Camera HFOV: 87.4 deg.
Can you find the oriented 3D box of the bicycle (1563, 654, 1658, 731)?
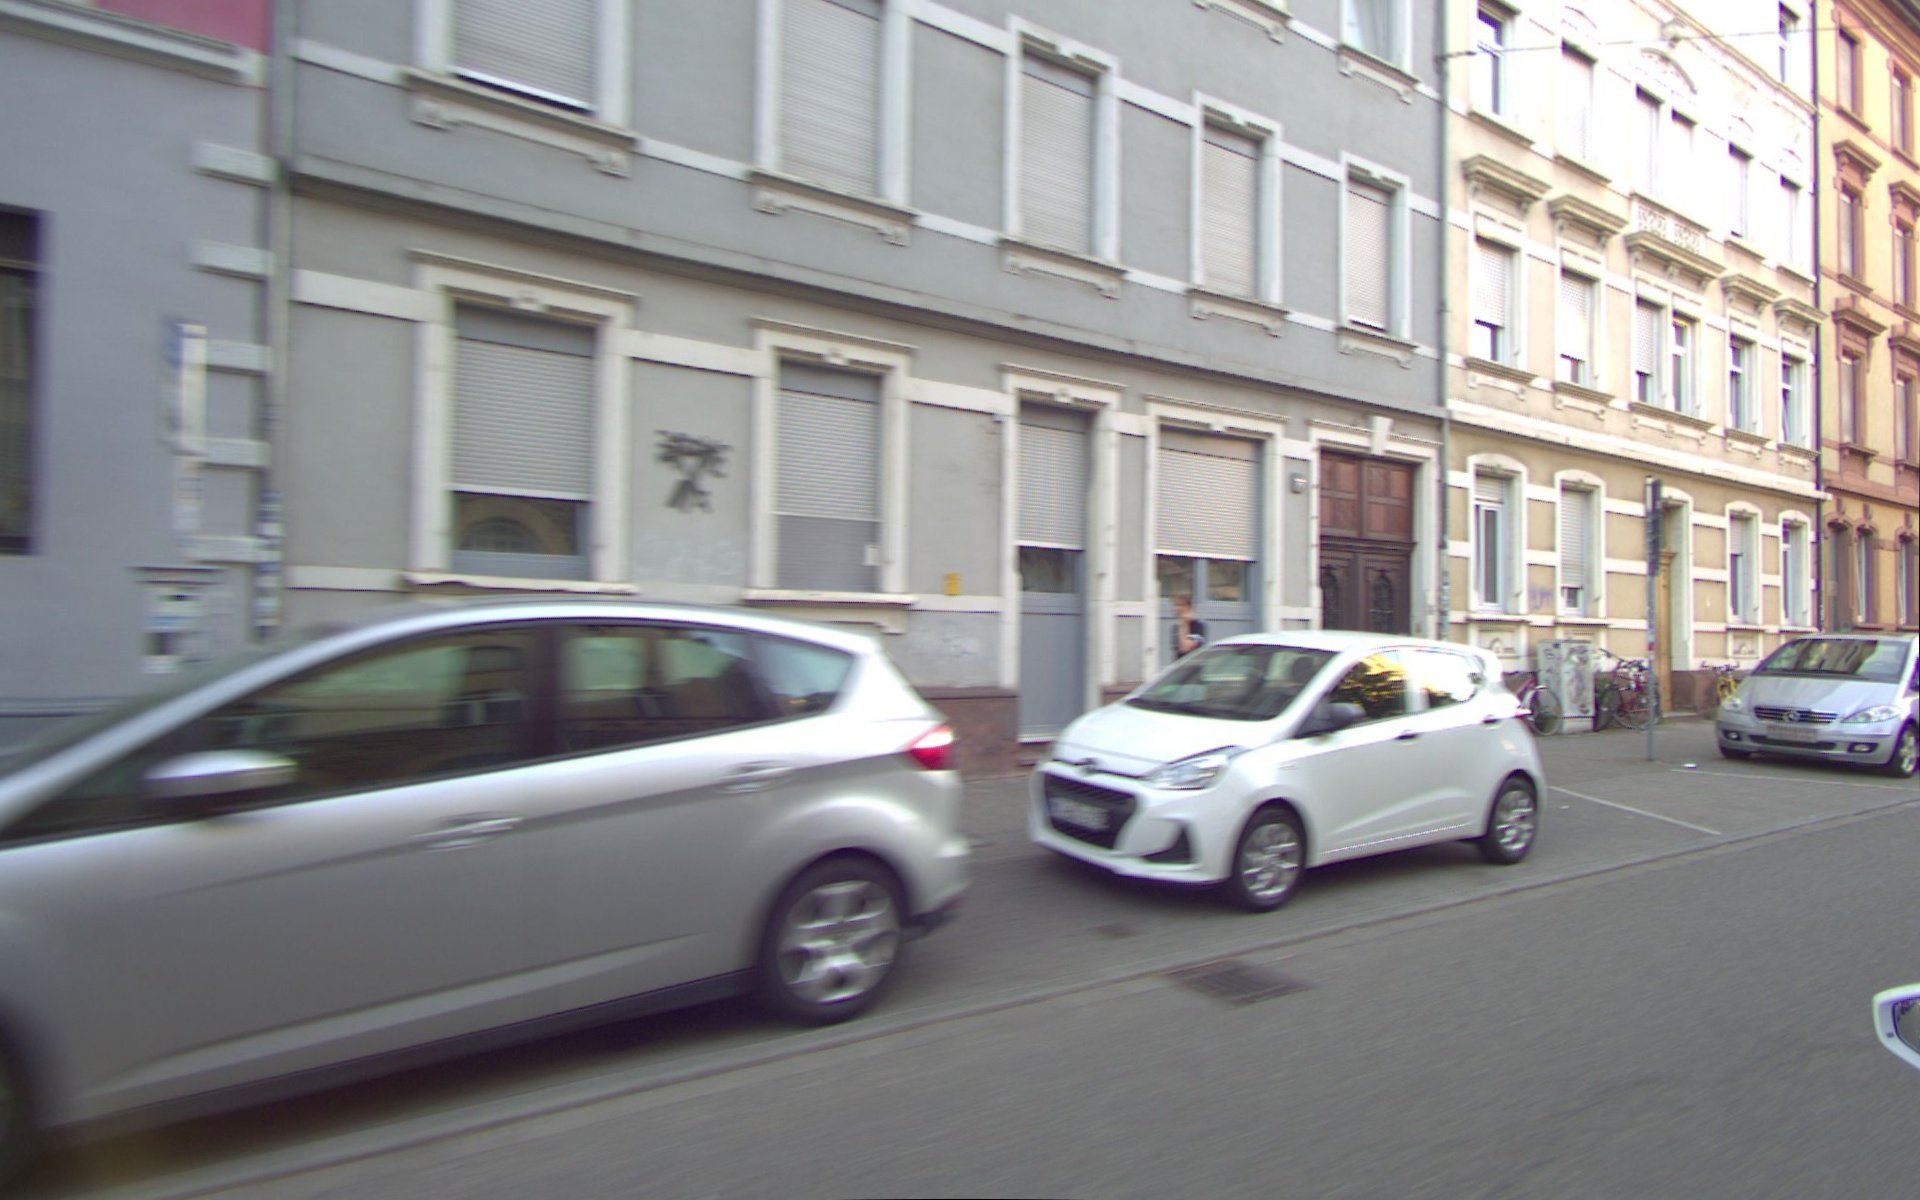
[{"bbox_3d":[10.263,1.429,15.825,1.842,1.155,0.477,2,-2,-31],"label":"bicycle"}]

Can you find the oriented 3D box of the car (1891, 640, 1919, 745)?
[{"bbox_3d":[16.606,1.459,15.787,4.751,1.546,1.827,2,0,-34],"label":"car"}]

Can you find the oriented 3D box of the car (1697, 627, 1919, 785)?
[{"bbox_3d":[11.179,1.201,12.444,4.096,1.614,1.791,2,0,-30],"label":"car"}]

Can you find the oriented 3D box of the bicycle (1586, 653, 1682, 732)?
[{"bbox_3d":[10.433,1.406,15.531,1.842,1.155,0.477,2,-2,-31],"label":"bicycle"}]

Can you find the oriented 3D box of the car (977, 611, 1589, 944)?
[{"bbox_3d":[2.227,0.931,6.682,3.883,1.597,1.744,2,0,-31],"label":"car"}]

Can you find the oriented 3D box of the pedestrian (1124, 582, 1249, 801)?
[{"bbox_3d":[2.163,0.848,9.642,0.823,1.974,0.846,2,-2,-27],"label":"pedestrian"}]

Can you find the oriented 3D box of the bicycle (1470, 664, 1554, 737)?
[{"bbox_3d":[7.893,1.421,14.343,1.450,0.989,0.398,2,-5,-34],"label":"bicycle"}]

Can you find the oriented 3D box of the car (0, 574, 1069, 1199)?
[{"bbox_3d":[-1.965,0.759,3.752,4.624,1.614,1.821,2,0,-34],"label":"car"}]

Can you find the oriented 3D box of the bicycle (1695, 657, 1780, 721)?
[{"bbox_3d":[14.004,1.577,18.081,1.815,1.084,0.658,2,-2,-34],"label":"bicycle"}]
